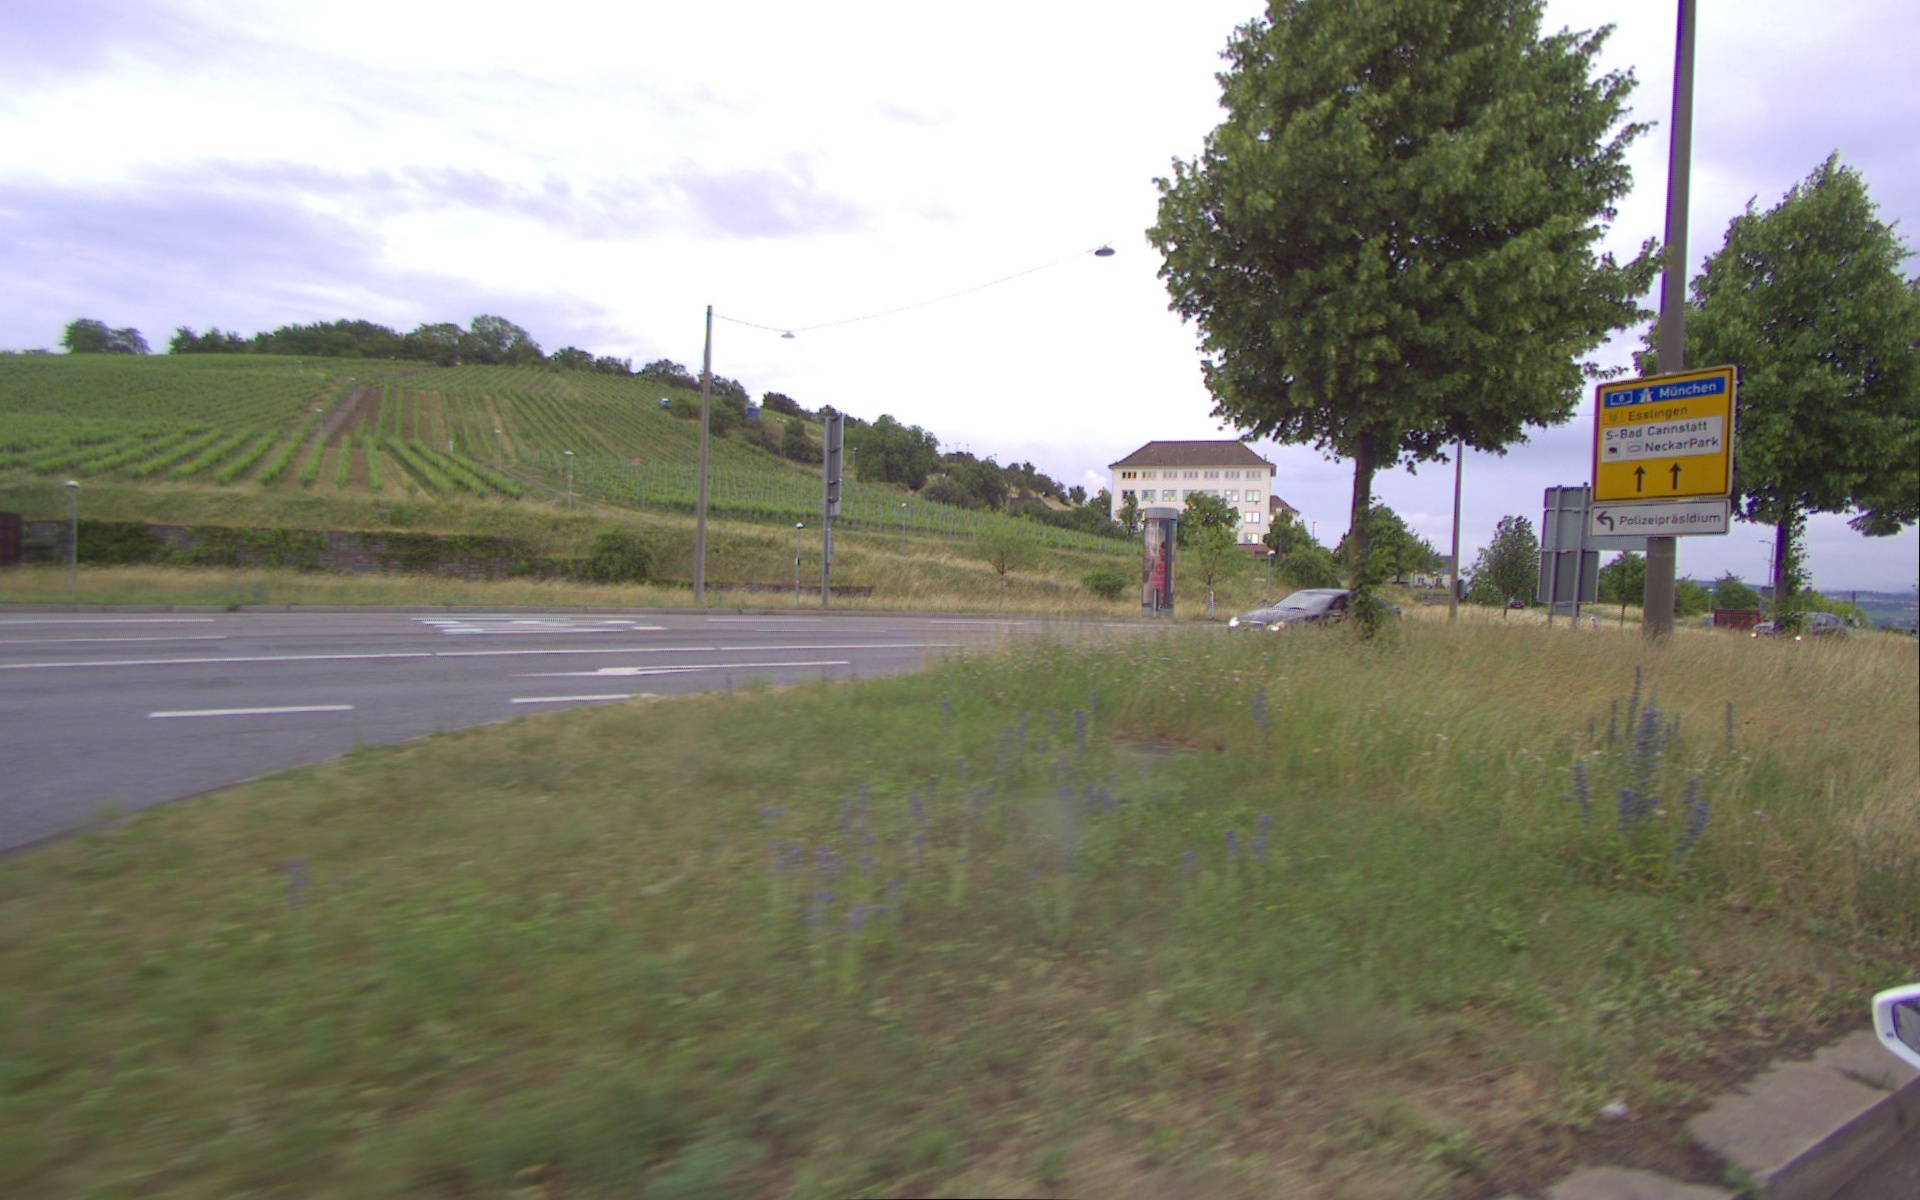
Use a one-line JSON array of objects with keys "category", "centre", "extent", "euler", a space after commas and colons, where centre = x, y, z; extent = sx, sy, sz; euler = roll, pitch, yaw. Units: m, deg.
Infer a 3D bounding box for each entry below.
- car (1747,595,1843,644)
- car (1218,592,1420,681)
[{"category": "car", "centre": [32.534, 0.768, 39.129], "extent": [3.957, 1.773, 1.757], "euler": [2, 1, -33]}, {"category": "car", "centre": [7.739, 0.763, 21.515], "extent": [4.313, 1.676, 1.866], "euler": [2, 1, -34]}]
